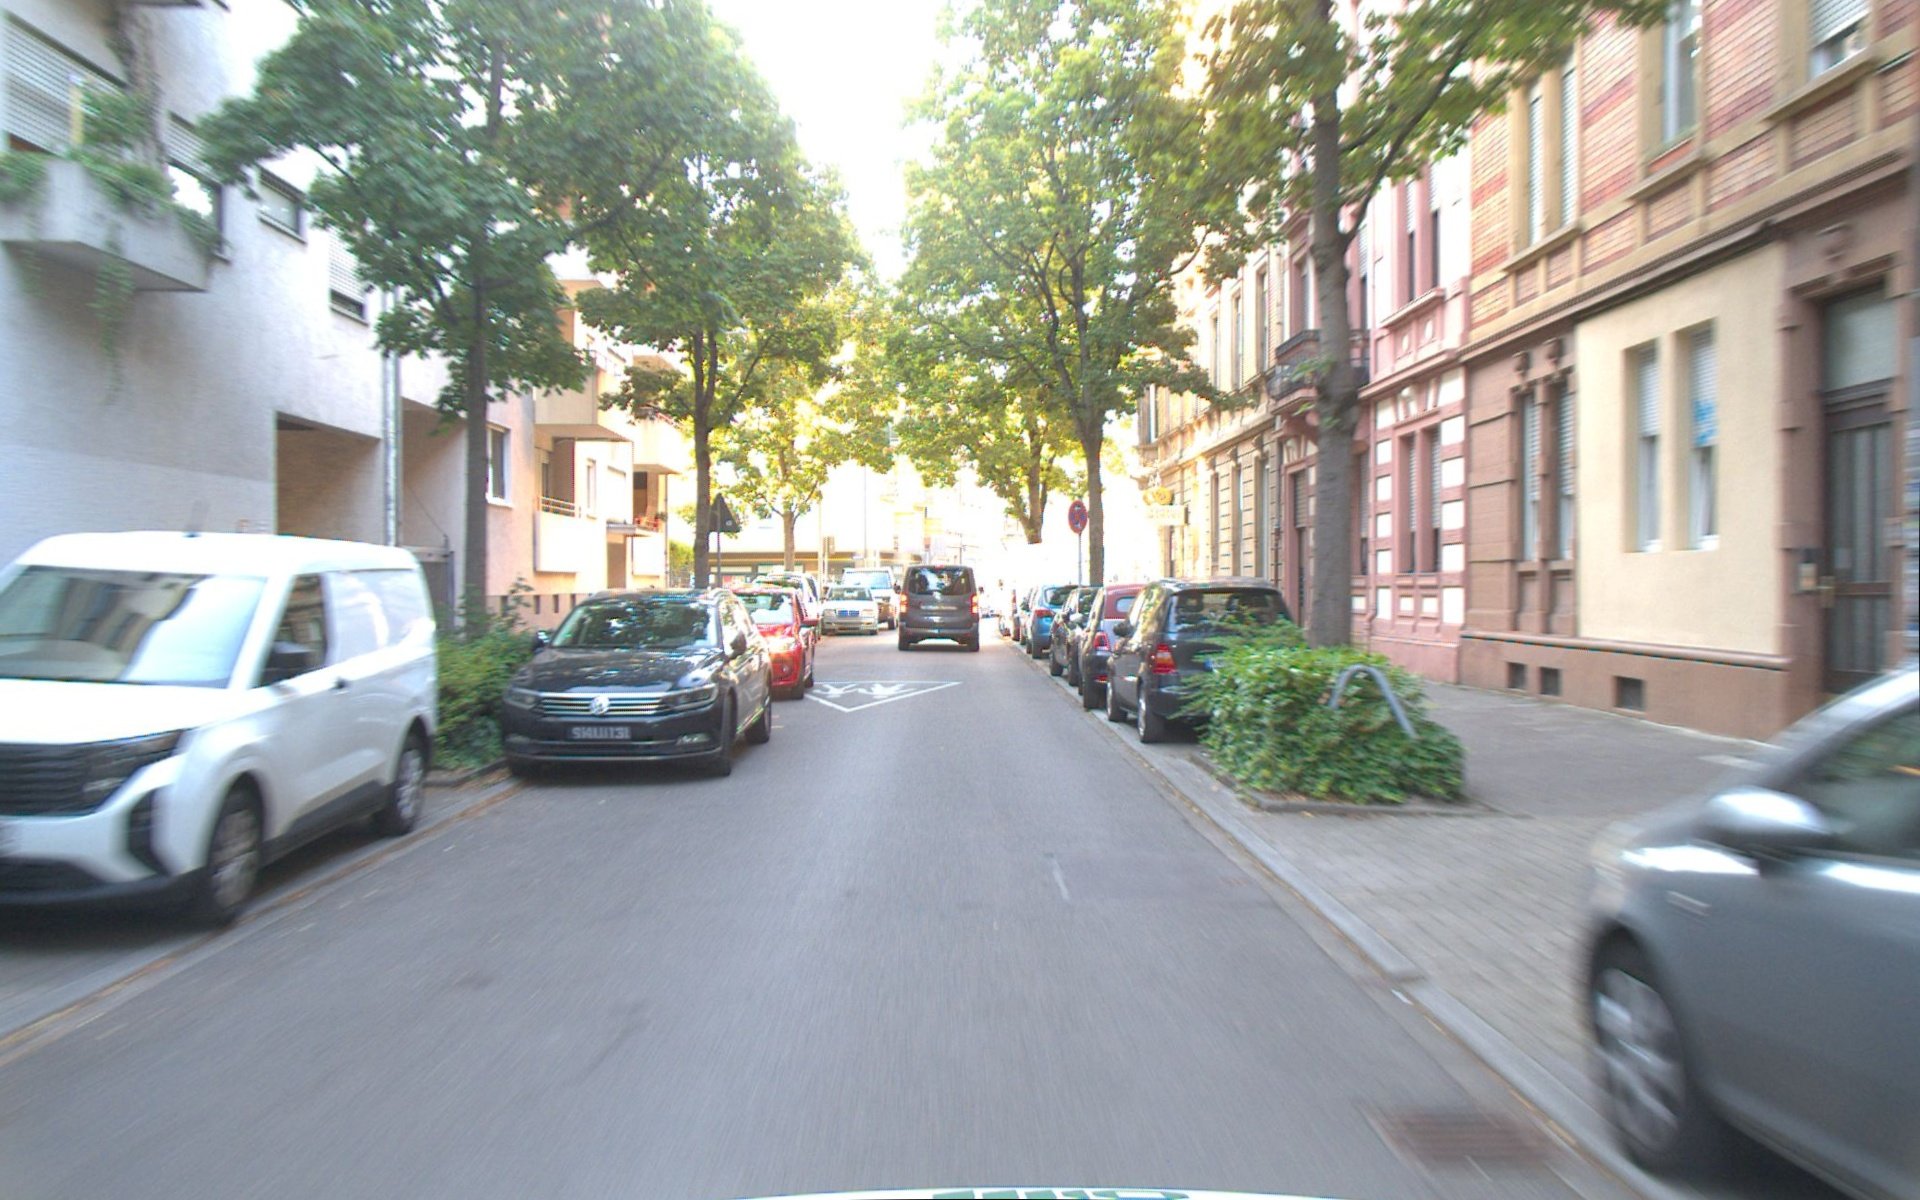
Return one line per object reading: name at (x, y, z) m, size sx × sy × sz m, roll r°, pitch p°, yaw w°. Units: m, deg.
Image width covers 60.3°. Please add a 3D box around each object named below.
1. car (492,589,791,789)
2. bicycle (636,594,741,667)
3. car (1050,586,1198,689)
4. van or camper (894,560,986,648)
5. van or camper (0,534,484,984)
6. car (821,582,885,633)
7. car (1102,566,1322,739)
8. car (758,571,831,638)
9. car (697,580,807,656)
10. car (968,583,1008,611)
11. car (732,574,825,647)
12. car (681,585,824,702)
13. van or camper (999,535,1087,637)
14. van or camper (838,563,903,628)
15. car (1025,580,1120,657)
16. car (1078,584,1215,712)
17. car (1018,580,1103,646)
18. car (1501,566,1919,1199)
car at (-2.617, 0.654, 14.663) m, size 1.809 × 1.477 × 4.502 m, roll 0°, pitch 1°, yaw 0°
bicycle at (-4.775, 0.523, 29.192) m, size 0.595 × 1.216 × 1.817 m, roll 2°, pitch 1°, yaw 44°
car at (2.441, 0.522, 25.456) m, size 1.681 × 1.428 × 3.811 m, roll -1°, pitch 1°, yaw -3°
van or camper at (-0.405, 0.069, 38.455) m, size 1.993 × 1.930 × 4.271 m, roll 0°, pitch 1°, yaw 1°
van or camper at (-4.133, 0.589, 8.928) m, size 1.892 × 1.790 × 4.464 m, roll 3°, pitch 1°, yaw -2°
car at (-3.155, 0.204, 49.241) m, size 1.706 × 1.428 × 3.374 m, roll -1°, pitch 1°, yaw -1°
car at (2.534, 0.464, 17.434) m, size 1.579 × 1.586 × 3.764 m, roll -1°, pitch 1°, yaw -2°
car at (-4.515, 0.108, 45.492) m, size 1.706 × 1.741 × 3.374 m, roll 1°, pitch 1°, yaw -1°
car at (-4.449, 0.346, 35.834) m, size 1.703 × 1.510 × 3.841 m, roll 1°, pitch 1°, yaw 3°
car at (1.671, -0.208, 97.211) m, size 1.757 × 1.606 × 3.751 m, roll 0°, pitch 1°, yaw 11°
car at (-4.397, 0.221, 40.669) m, size 1.858 × 1.665 × 4.155 m, roll 1°, pitch 1°, yaw -1°
car at (-2.796, 0.537, 22.912) m, size 1.597 × 1.455 × 3.541 m, roll -1°, pitch 1°, yaw -2°
van or camper at (2.214, -0.391, 45.433) m, size 1.953 × 2.644 × 5.422 m, roll 0°, pitch 1°, yaw -2°
van or camper at (-2.892, -0.164, 54.346) m, size 1.824 × 2.018 × 4.271 m, roll -1°, pitch 1°, yaw 1°
car at (2.292, 0.345, 34.457) m, size 1.714 × 1.497 × 3.776 m, roll 0°, pitch 1°, yaw 0°
car at (2.375, 0.561, 21.731) m, size 1.518 × 1.523 × 3.611 m, roll 0°, pitch 1°, yaw 2°
car at (2.366, 0.281, 39.714) m, size 1.715 × 1.497 × 3.775 m, roll 0°, pitch 1°, yaw -1°
car at (2.669, 0.681, 3.311) m, size 1.663 × 1.508 × 3.998 m, roll -2°, pitch 0°, yaw -3°
